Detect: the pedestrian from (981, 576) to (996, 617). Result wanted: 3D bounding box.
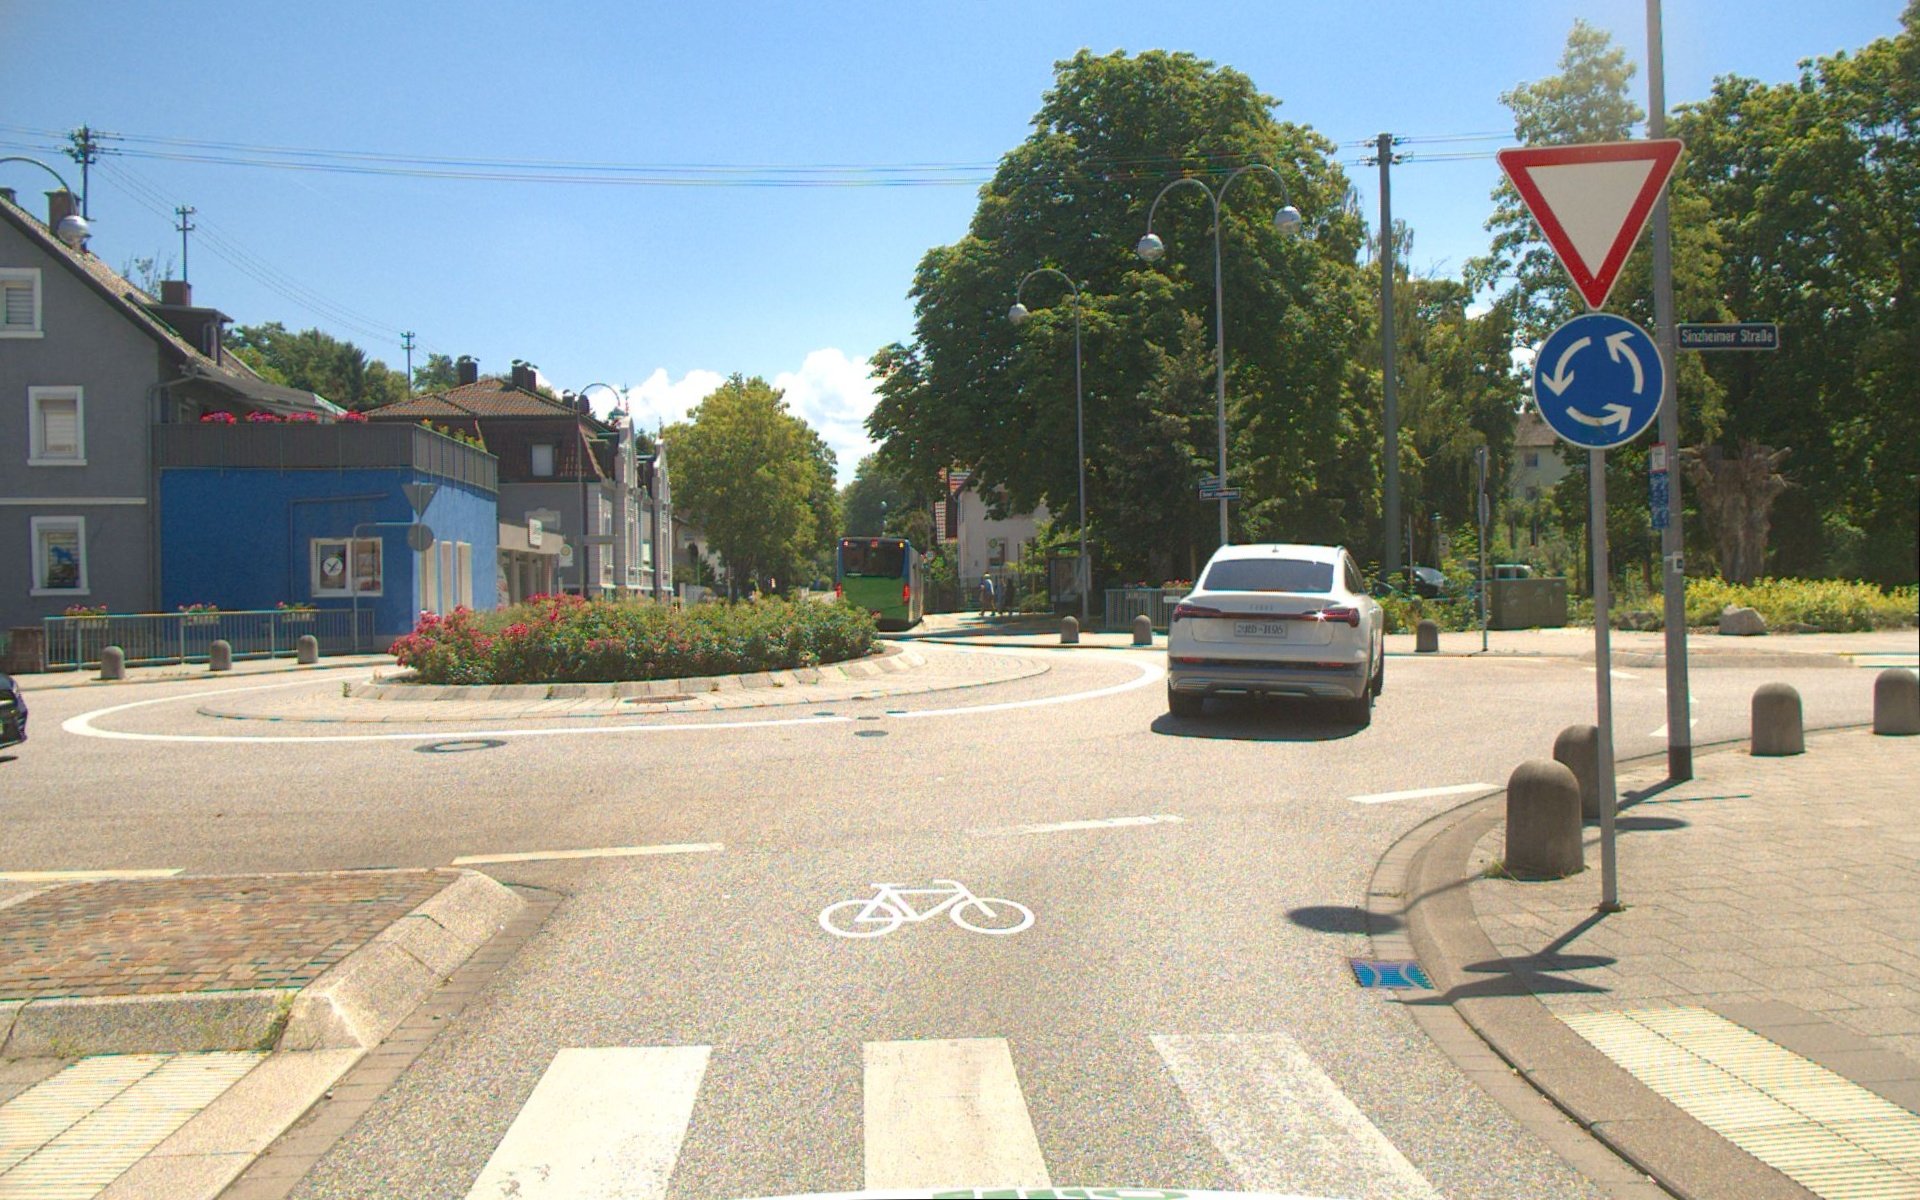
[{"bbox_3d":[1.191,-0.144,68.783,0.493,1.679,0.578,-1,0,-8],"label":"pedestrian"}]

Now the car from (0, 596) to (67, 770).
[{"bbox_3d":[-10.514,0.862,14.807,4.330,1.482,1.770,-3,2,16],"label":"car"}]

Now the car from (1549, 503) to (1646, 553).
[{"bbox_3d":[28.283,-3.175,73.332,3.906,2.048,2.000,-1,1,24],"label":"car"}]

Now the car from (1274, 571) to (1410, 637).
[{"bbox_3d":[9.916,0.090,42.994,3.000,1.579,1.627,-2,1,-16],"label":"car"}]

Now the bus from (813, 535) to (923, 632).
[{"bbox_3d":[-3.263,-0.569,64.210,3.631,3.227,18.064,0,0,-1],"label":"bus"}]

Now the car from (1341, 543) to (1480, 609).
[{"bbox_3d":[14.711,-0.772,54.133,1.984,2.049,3.938,-2,1,-42],"label":"car"}]

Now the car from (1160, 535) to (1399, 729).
[{"bbox_3d":[3.382,0.222,16.846,1.858,1.691,4.412,1,1,18],"label":"car"}]

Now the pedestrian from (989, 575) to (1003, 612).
[{"bbox_3d":[1.541,-0.274,70.771,0.479,1.548,0.541,-1,0,-8],"label":"pedestrian"}]
